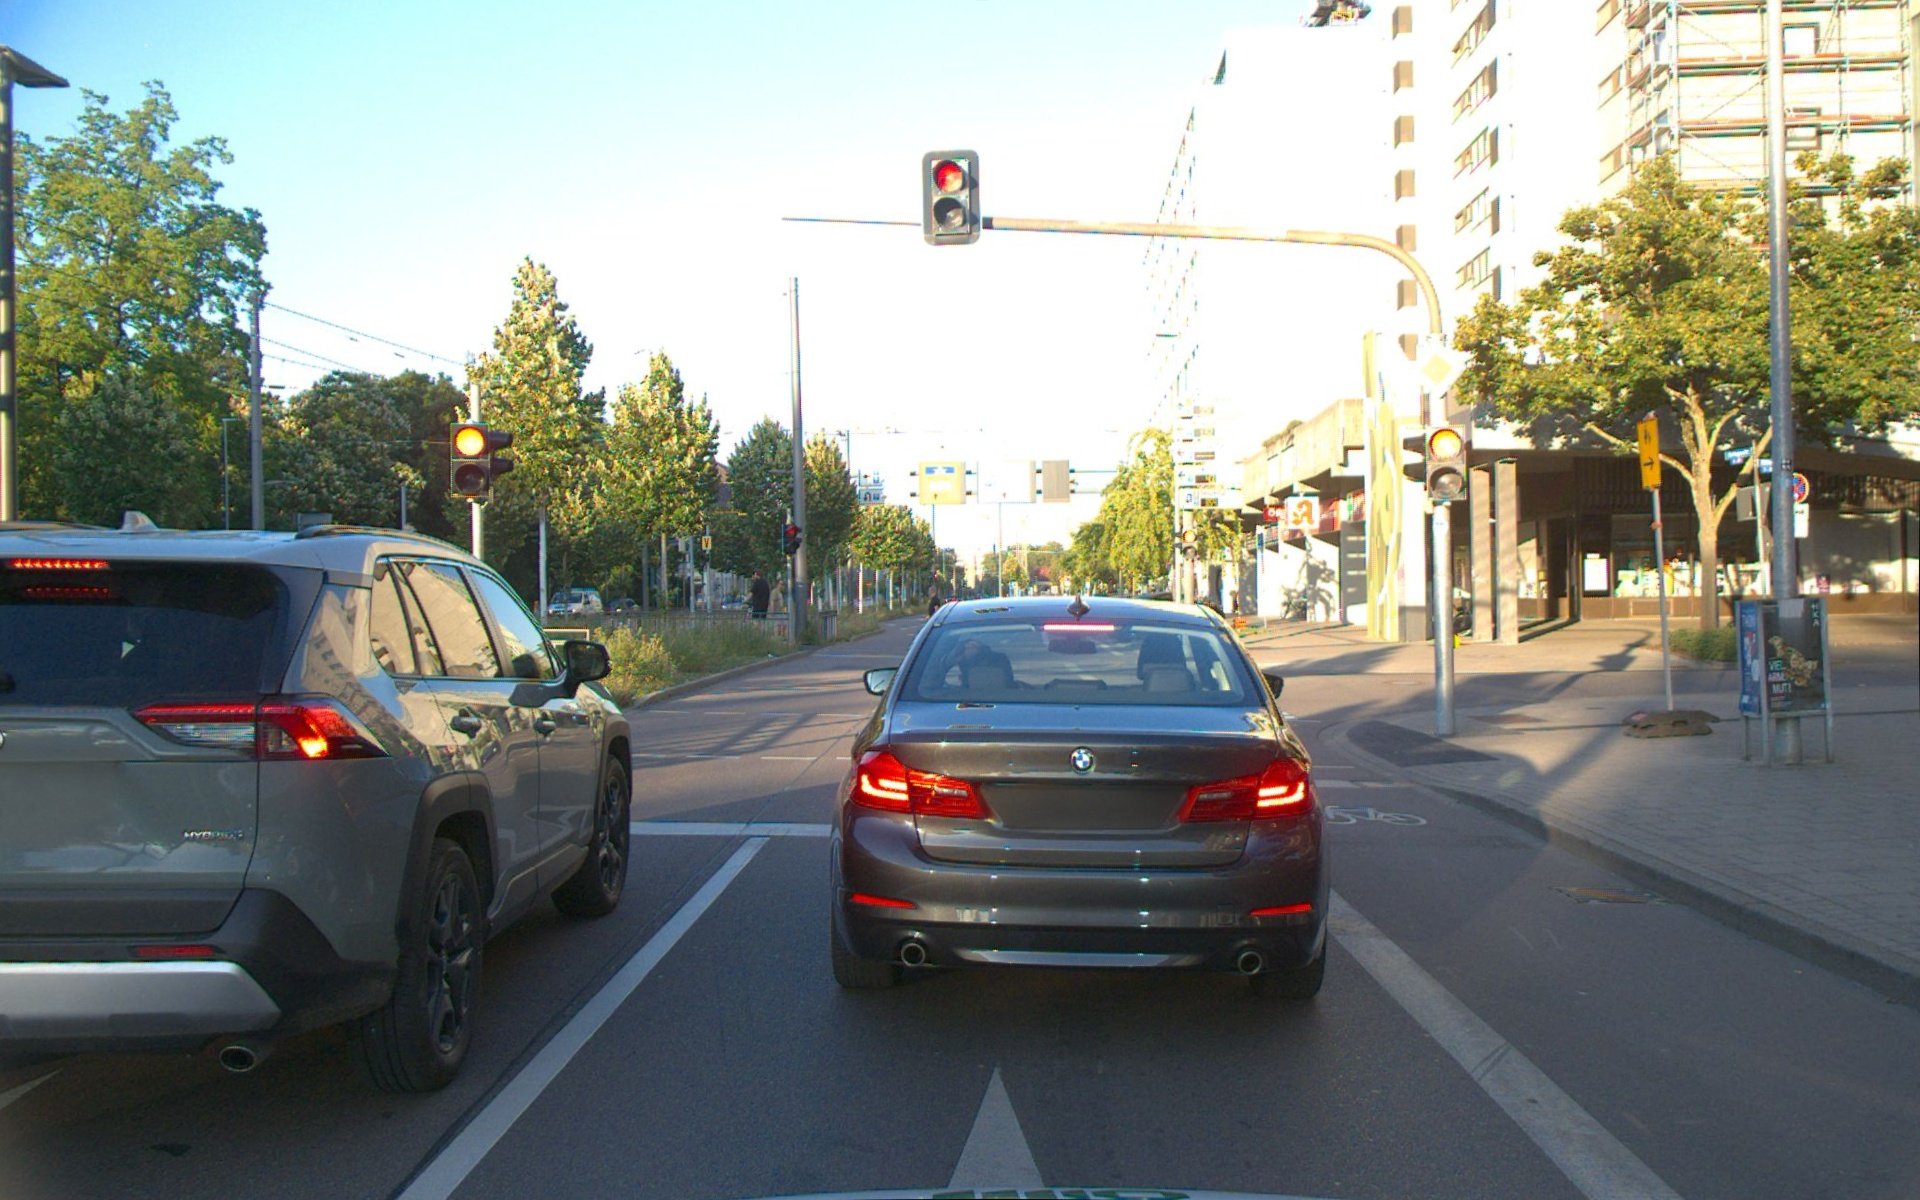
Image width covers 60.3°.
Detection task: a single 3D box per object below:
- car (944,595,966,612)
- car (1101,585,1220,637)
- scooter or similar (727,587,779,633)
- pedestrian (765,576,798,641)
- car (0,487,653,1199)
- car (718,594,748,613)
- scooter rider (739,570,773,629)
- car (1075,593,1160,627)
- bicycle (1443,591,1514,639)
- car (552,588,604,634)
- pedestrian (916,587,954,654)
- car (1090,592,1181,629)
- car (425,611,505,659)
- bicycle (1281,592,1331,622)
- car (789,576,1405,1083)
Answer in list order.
[{"bbox_3d":[-0.440,0.297,147.675,1.938,1.458,4.843,0,1,1],"label":"car"},{"bbox_3d":[6.988,0.363,57.474,4.232,1.687,1.832,-1,2,-42],"label":"car"},{"bbox_3d":[-5.461,0.270,43.708,1.302,1.173,0.513,-1,0,-2],"label":"scooter or similar"},{"bbox_3d":[-4.846,0.227,44.953,0.818,1.742,0.647,-1,0,-1],"label":"pedestrian"},{"bbox_3d":[-2.359,0.529,6.000,1.817,1.687,4.267,0,1,-2],"label":"car"},{"bbox_3d":[-17.931,0.258,130.858,1.763,1.507,3.783,-1,0,1],"label":"car"},{"bbox_3d":[-5.395,-0.015,43.713,0.804,1.540,0.652,-1,0,-2],"label":"scooter rider"},{"bbox_3d":[8.187,0.485,85.869,4.218,1.687,1.838,-1,1,-35],"label":"car"},{"bbox_3d":[13.163,0.378,42.051,0.677,1.169,2.013,2,-1,-18],"label":"bicycle"},{"bbox_3d":[-19.742,0.537,85.690,1.954,2.205,4.746,0,1,-5],"label":"car"},{"bbox_3d":[-0.603,0.507,40.740,0.817,1.614,0.812,-1,0,5],"label":"pedestrian"},{"bbox_3d":[8.465,0.476,79.589,4.219,1.687,1.838,-1,1,-35],"label":"car"},{"bbox_3d":[-20.524,1.417,68.744,1.953,1.775,4.750,0,1,-1],"label":"car"},{"bbox_3d":[14.552,0.303,69.678,1.973,1.169,0.691,2,-1,7],"label":"bicycle"},{"bbox_3d":[0.577,0.669,7.380,1.891,1.507,4.525,0,1,4],"label":"car"}]
